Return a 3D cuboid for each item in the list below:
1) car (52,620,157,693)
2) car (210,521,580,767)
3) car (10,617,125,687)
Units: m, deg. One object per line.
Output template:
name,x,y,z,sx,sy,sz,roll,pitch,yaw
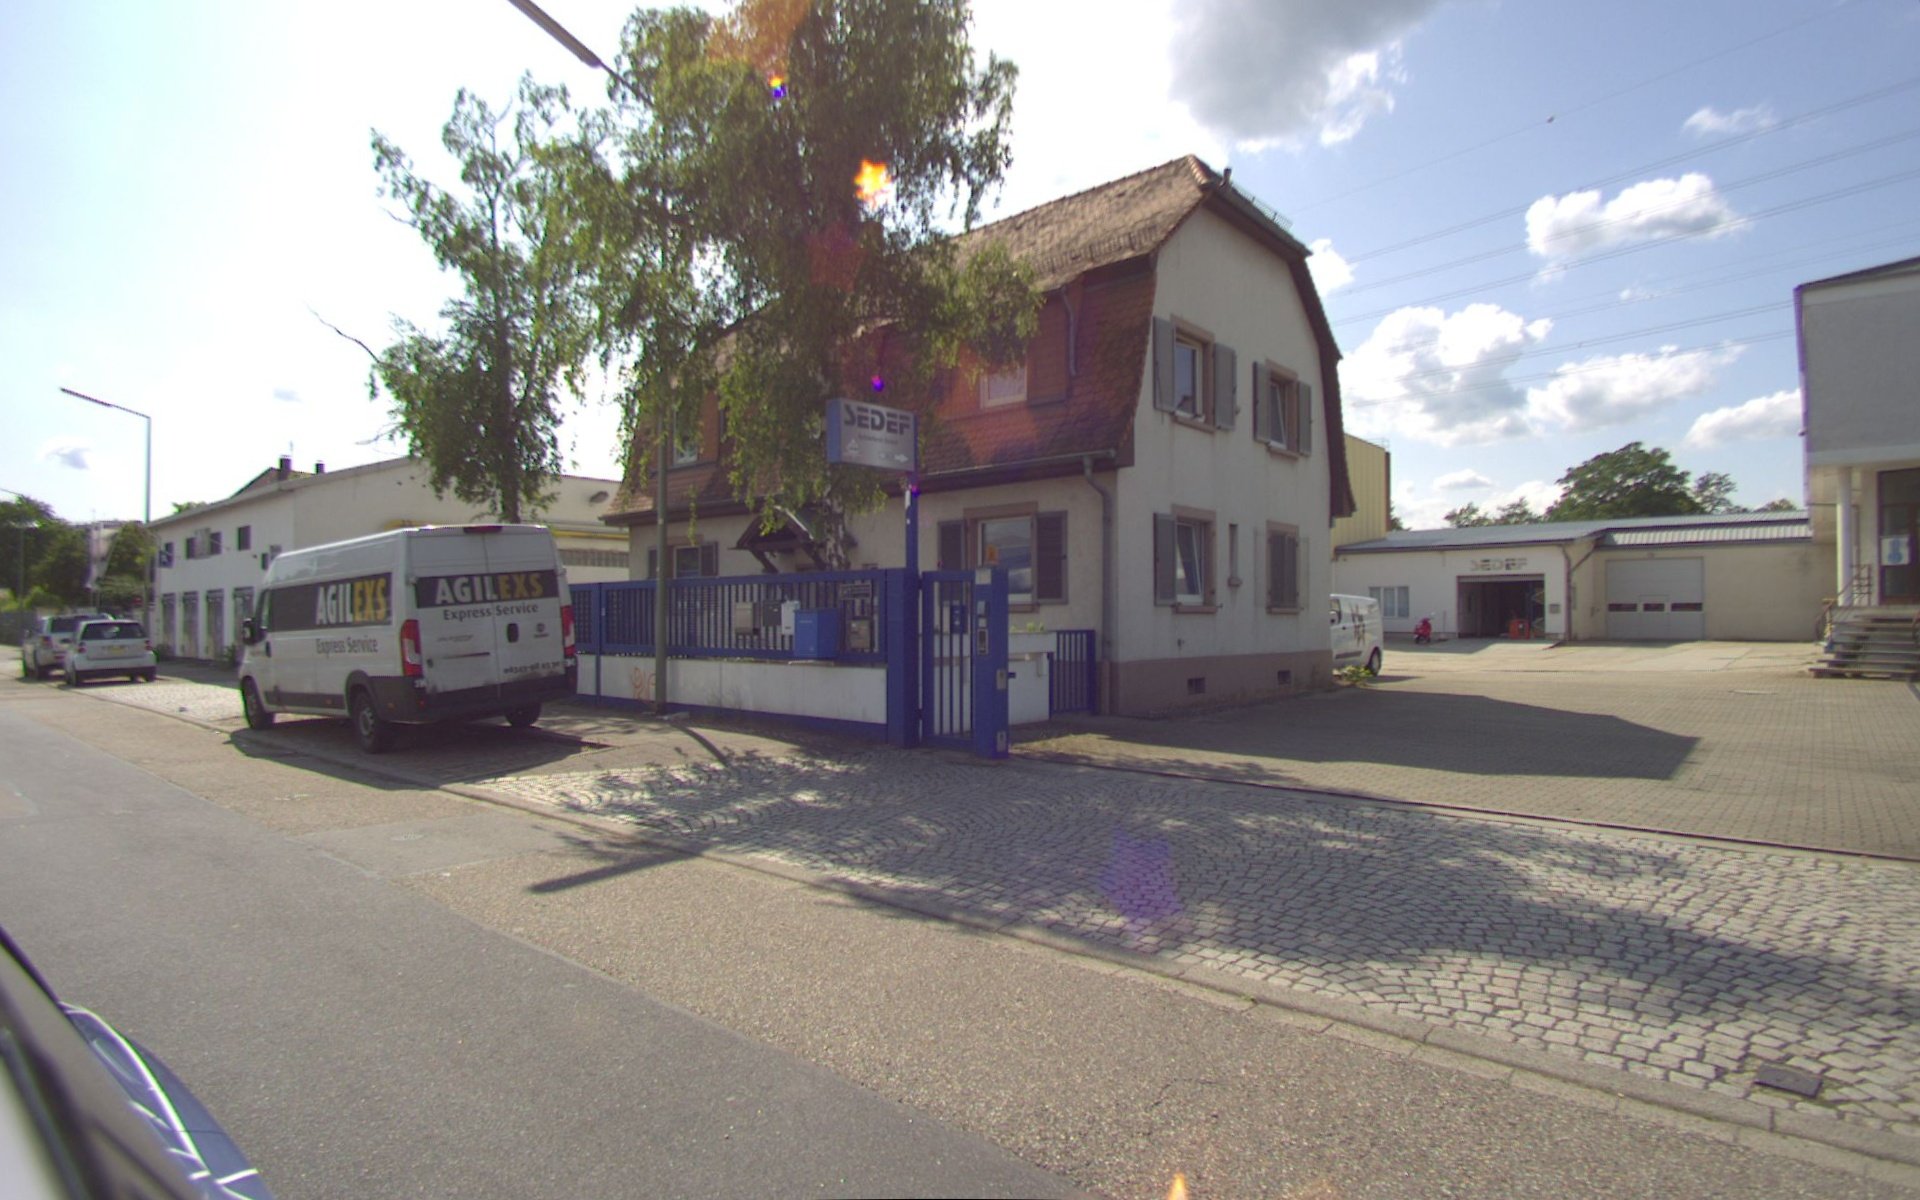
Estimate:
car,-21.157,1.346,25.005,3.009,1.585,1.592,-2,1,43
car,-7.765,0.471,13.471,6.651,2.577,2.010,-1,1,40
car,-24.862,1.381,28.141,4.749,1.732,1.772,-1,1,41
